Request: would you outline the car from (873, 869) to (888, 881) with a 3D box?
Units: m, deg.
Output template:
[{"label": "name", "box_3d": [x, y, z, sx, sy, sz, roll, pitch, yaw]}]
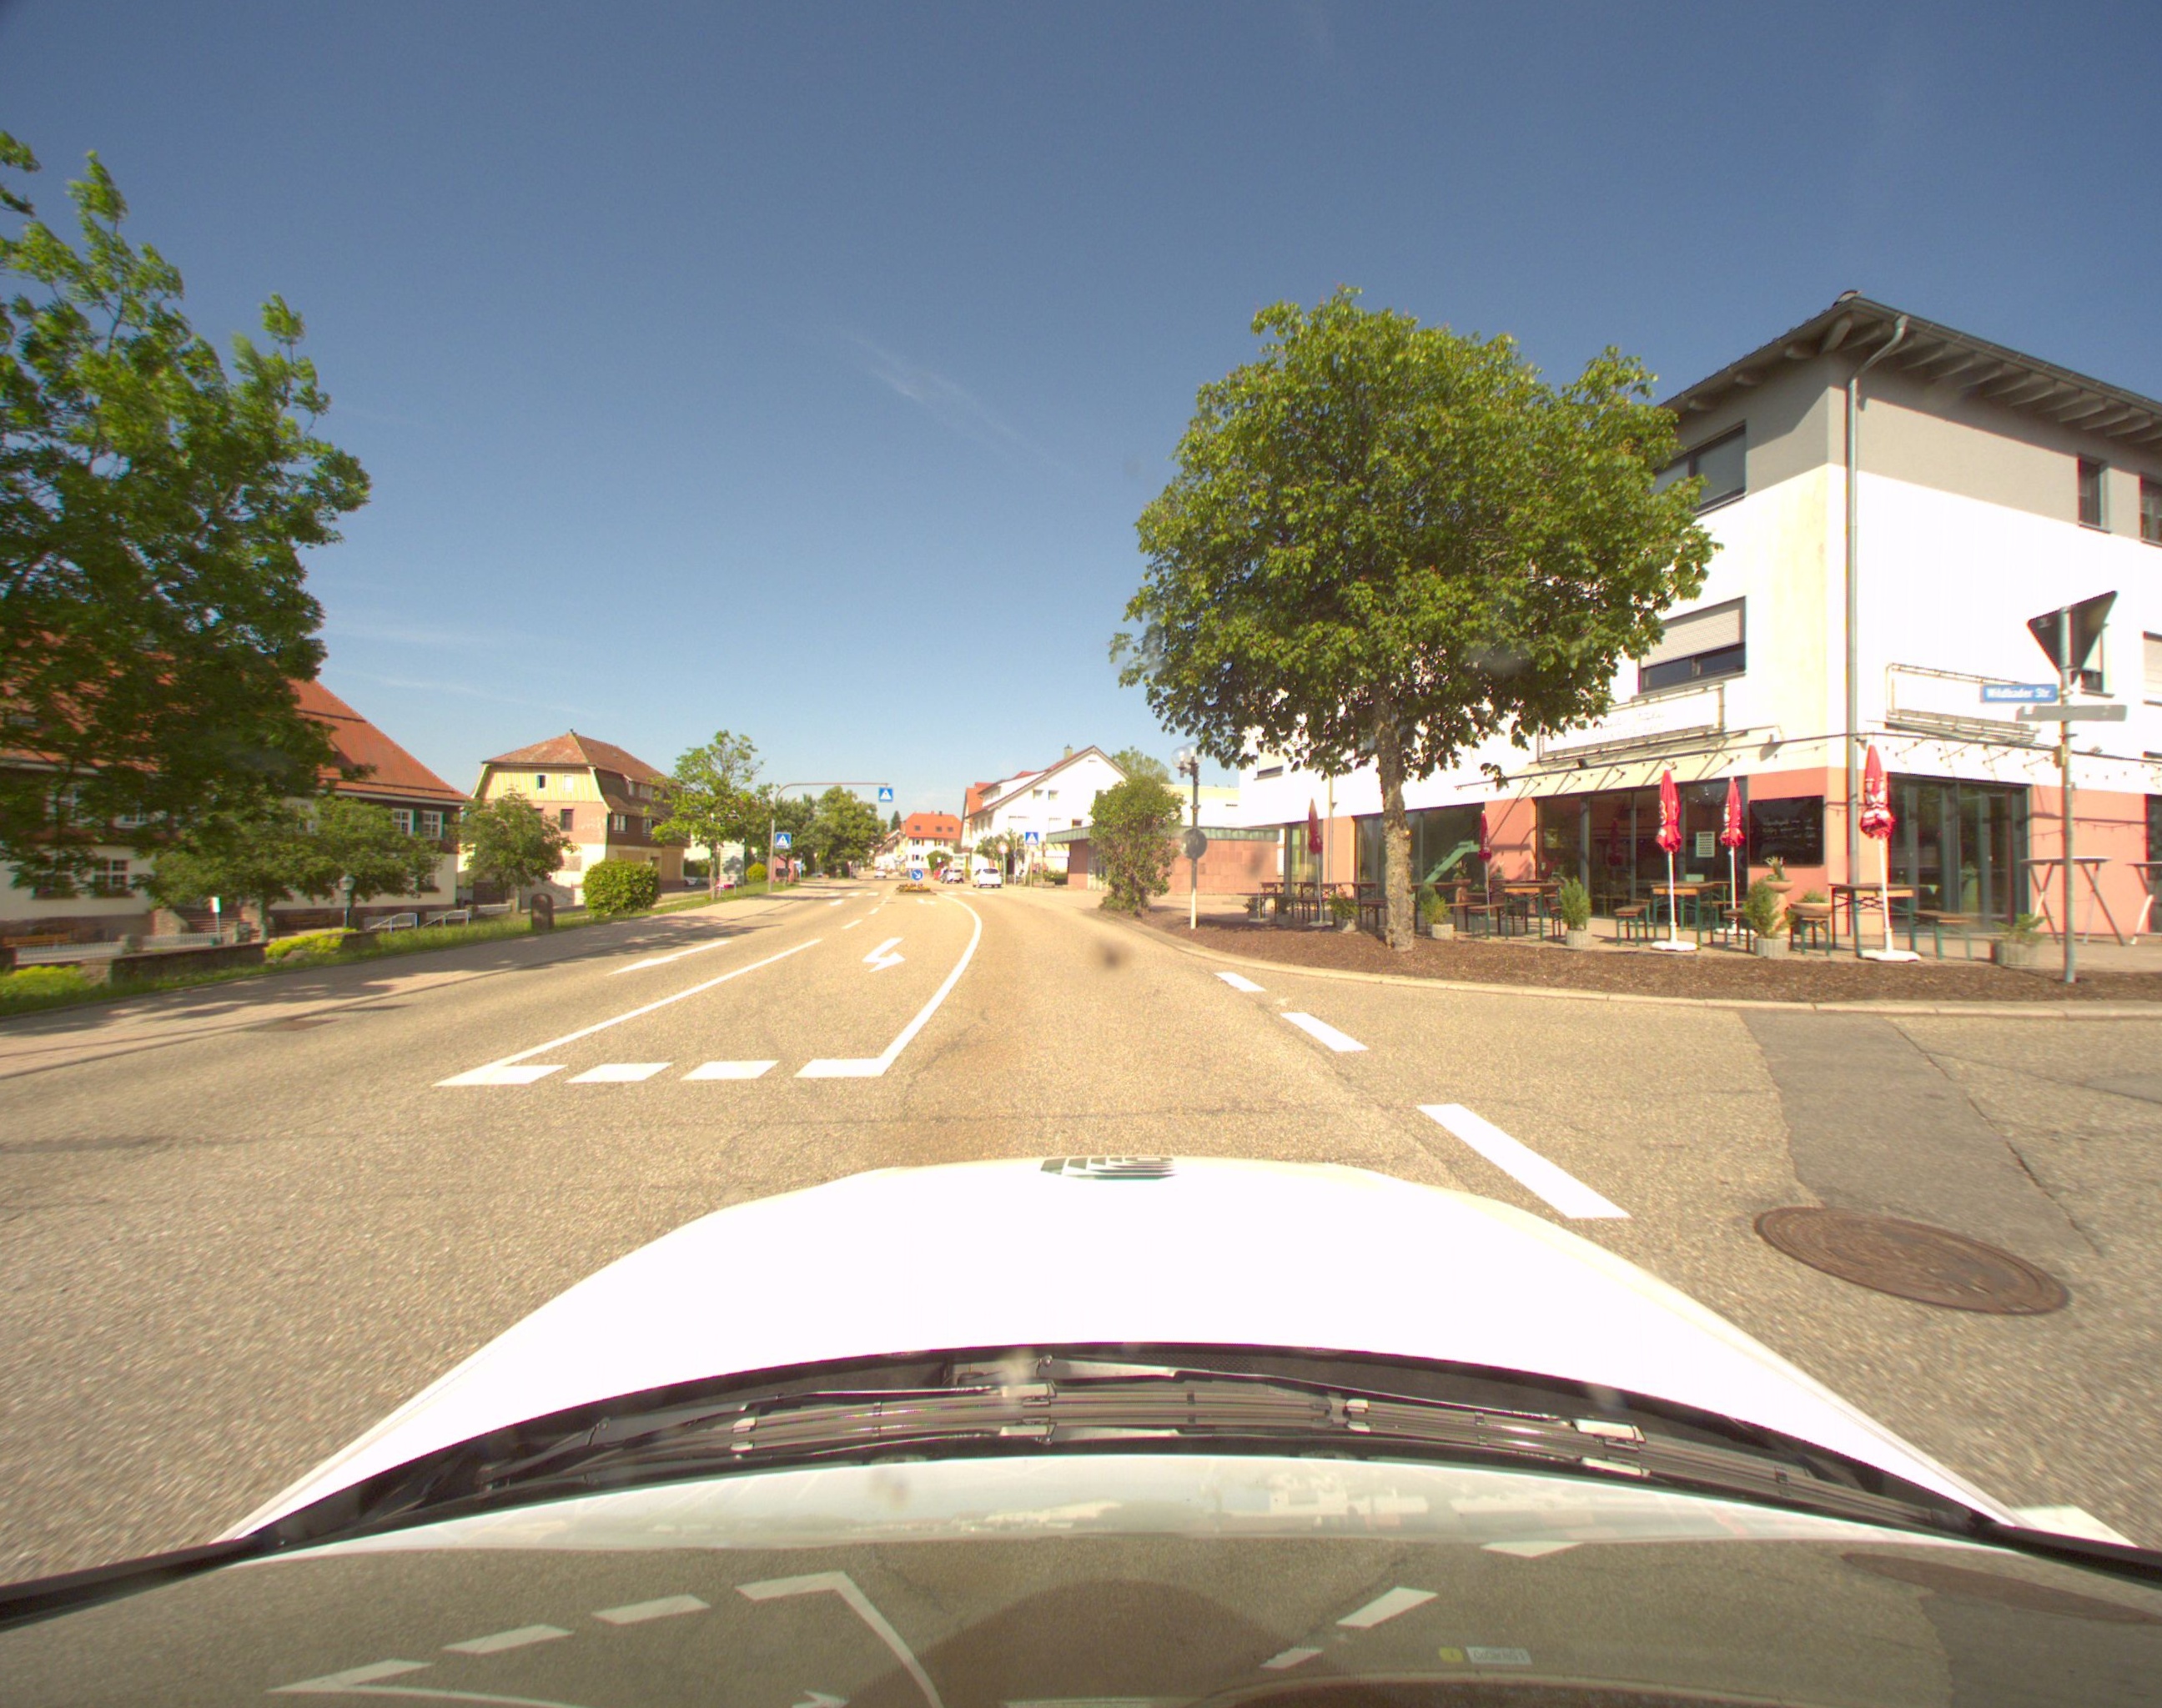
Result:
[{"label": "car", "box_3d": [-37.610, 3.954, 152.518, 2.501, 2.014, 4.280, -2, -1, -16]}]

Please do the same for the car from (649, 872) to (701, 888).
[{"label": "car", "box_3d": [-41.388, 2.660, 83.143, 4.297, 1.512, 1.795, 1, -3, -7]}]

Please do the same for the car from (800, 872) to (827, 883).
[{"label": "car", "box_3d": [-42.624, 3.726, 129.996, 3.753, 1.455, 1.814, -2, -6, -5]}]

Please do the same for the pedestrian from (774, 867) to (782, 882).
[{"label": "pedestrian", "box_3d": [-25.101, 1.693, 67.465, 0.631, 1.253, 0.421, -1, -1, -19]}]

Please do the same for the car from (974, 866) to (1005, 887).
[{"label": "car", "box_3d": [-6.651, 1.628, 58.813, 1.762, 1.423, 3.616, -1, -1, -14]}]

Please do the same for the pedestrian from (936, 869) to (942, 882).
[{"label": "pedestrian", "box_3d": [-20.466, 3.061, 117.169, 0.800, 1.784, 0.975, 0, -1, -12]}]

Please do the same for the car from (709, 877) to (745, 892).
[{"label": "car", "box_3d": [-32.976, 2.824, 75.961, 1.716, 1.297, 3.997, -1, -1, -2]}]

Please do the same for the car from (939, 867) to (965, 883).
[{"label": "car", "box_3d": [-12.143, 1.965, 76.405, 1.640, 1.420, 3.908, -1, -1, -20]}]
